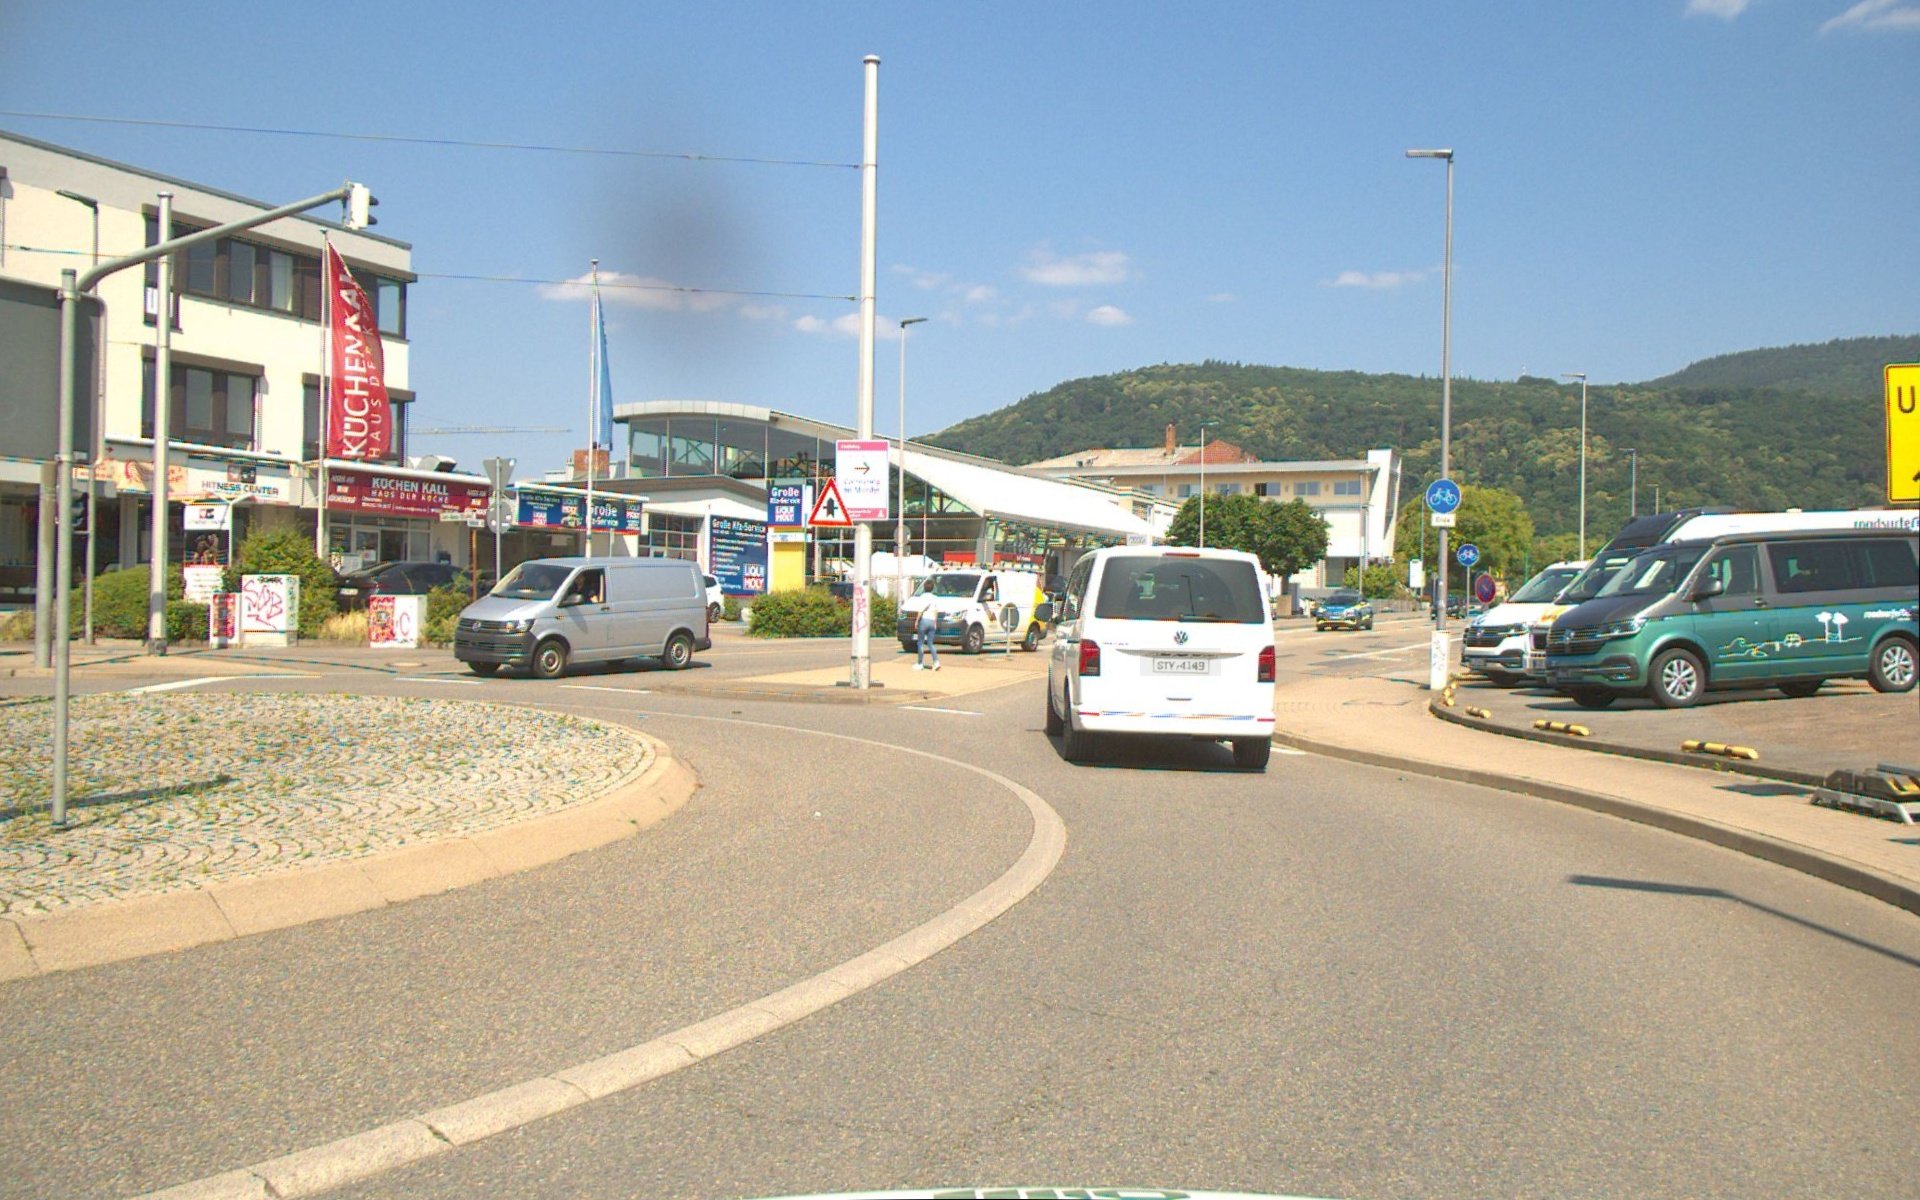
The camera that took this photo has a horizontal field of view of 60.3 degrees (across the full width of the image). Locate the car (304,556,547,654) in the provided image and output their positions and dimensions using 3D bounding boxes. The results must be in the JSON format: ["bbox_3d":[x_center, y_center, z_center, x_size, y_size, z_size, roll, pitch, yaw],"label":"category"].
[{"bbox_3d":[-11.729,0.101,36.709,1.922,2.000,5.273,1,0,28],"label":"car"}]

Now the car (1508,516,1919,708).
[{"bbox_3d":[9.549,0.139,20.166,5.120,2.150,2.090,0,0,-13],"label":"car"}]

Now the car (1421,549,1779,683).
[{"bbox_3d":[10.222,0.255,26.595,5.047,2.035,2.021,0,0,-9],"label":"car"}]

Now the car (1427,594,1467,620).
[{"bbox_3d":[30.001,0.410,101.852,1.804,1.489,3.998,0,1,24],"label":"car"}]

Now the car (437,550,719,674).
[{"bbox_3d":[-6.531,0.194,28.814,1.893,1.969,4.815,1,0,33],"label":"car"}]

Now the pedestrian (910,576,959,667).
[{"bbox_3d":[-0.480,0.394,31.114,0.747,1.685,0.670,1,0,-16],"label":"pedestrian"}]

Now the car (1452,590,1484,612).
[{"bbox_3d":[36.649,0.061,119.332,1.804,1.489,3.999,0,1,23],"label":"car"}]

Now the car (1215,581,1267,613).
[{"bbox_3d":[15.013,-0.173,88.640,1.712,1.612,3.655,1,0,-8],"label":"car"}]

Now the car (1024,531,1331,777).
[{"bbox_3d":[1.965,0.404,16.660,2.119,2.048,5.015,2,1,-3],"label":"car"}]

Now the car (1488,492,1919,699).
[{"bbox_3d":[10.966,-0.062,23.868,6.027,2.764,2.301,0,0,-11],"label":"car"}]

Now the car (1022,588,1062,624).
[{"bbox_3d":[3.856,0.284,77.299,1.708,1.612,3.663,1,0,5],"label":"car"}]

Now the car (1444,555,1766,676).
[{"bbox_3d":[11.438,0.257,29.515,5.032,2.049,1.929,0,0,-5],"label":"car"}]

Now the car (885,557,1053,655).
[{"bbox_3d":[0.307,0.104,39.471,1.982,2.151,4.928,2,1,27],"label":"car"}]

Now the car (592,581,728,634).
[{"bbox_3d":[-9.581,0.242,53.271,1.843,1.616,4.925,-1,-1,24],"label":"car"}]

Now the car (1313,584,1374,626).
[{"bbox_3d":[16.947,0.211,72.954,1.870,1.791,4.450,0,1,23],"label":"car"}]

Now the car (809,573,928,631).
[{"bbox_3d":[-2.696,0.038,49.716,1.954,1.646,3.998,1,1,24],"label":"car"}]
